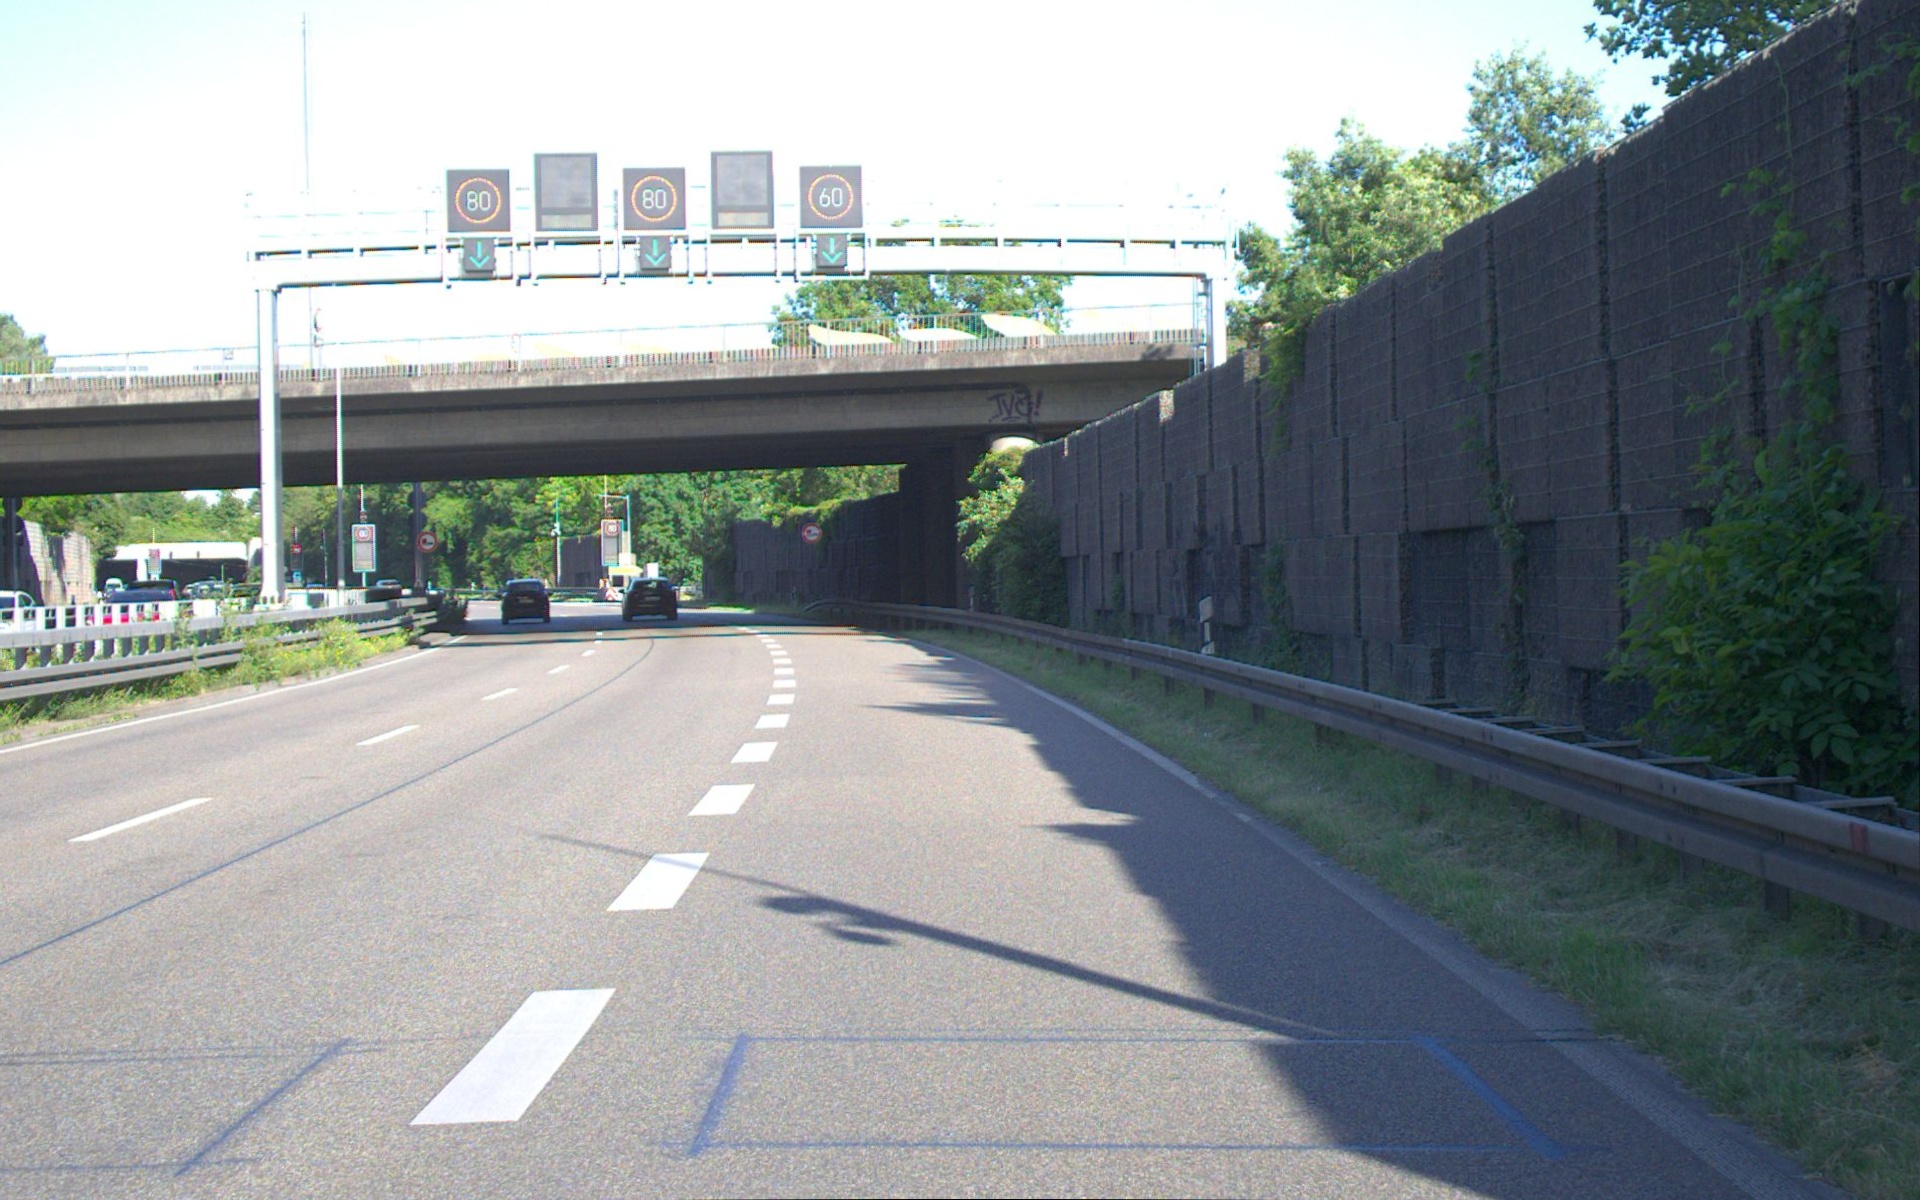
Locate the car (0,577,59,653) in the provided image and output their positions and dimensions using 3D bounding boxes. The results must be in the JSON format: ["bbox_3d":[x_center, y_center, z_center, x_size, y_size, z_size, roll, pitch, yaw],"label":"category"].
[{"bbox_3d":[-21.768,0.320,77.132,1.993,1.635,4.721,-1,1,-2],"label":"car"}]

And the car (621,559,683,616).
[{"bbox_3d":[-10.620,-0.457,118.713,1.993,1.919,4.001,-1,1,-4],"label":"car"}]

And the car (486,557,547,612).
[{"bbox_3d":[-15.889,-0.577,123.288,1.993,1.919,4.001,-1,1,-5],"label":"car"}]

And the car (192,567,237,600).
[{"bbox_3d":[-41.299,-0.912,190.467,1.993,1.700,4.562,-2,1,-7],"label":"car"}]

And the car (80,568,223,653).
[{"bbox_3d":[-17.375,0.195,74.075,1.993,1.635,4.721,-3,1,-2],"label":"car"}]
